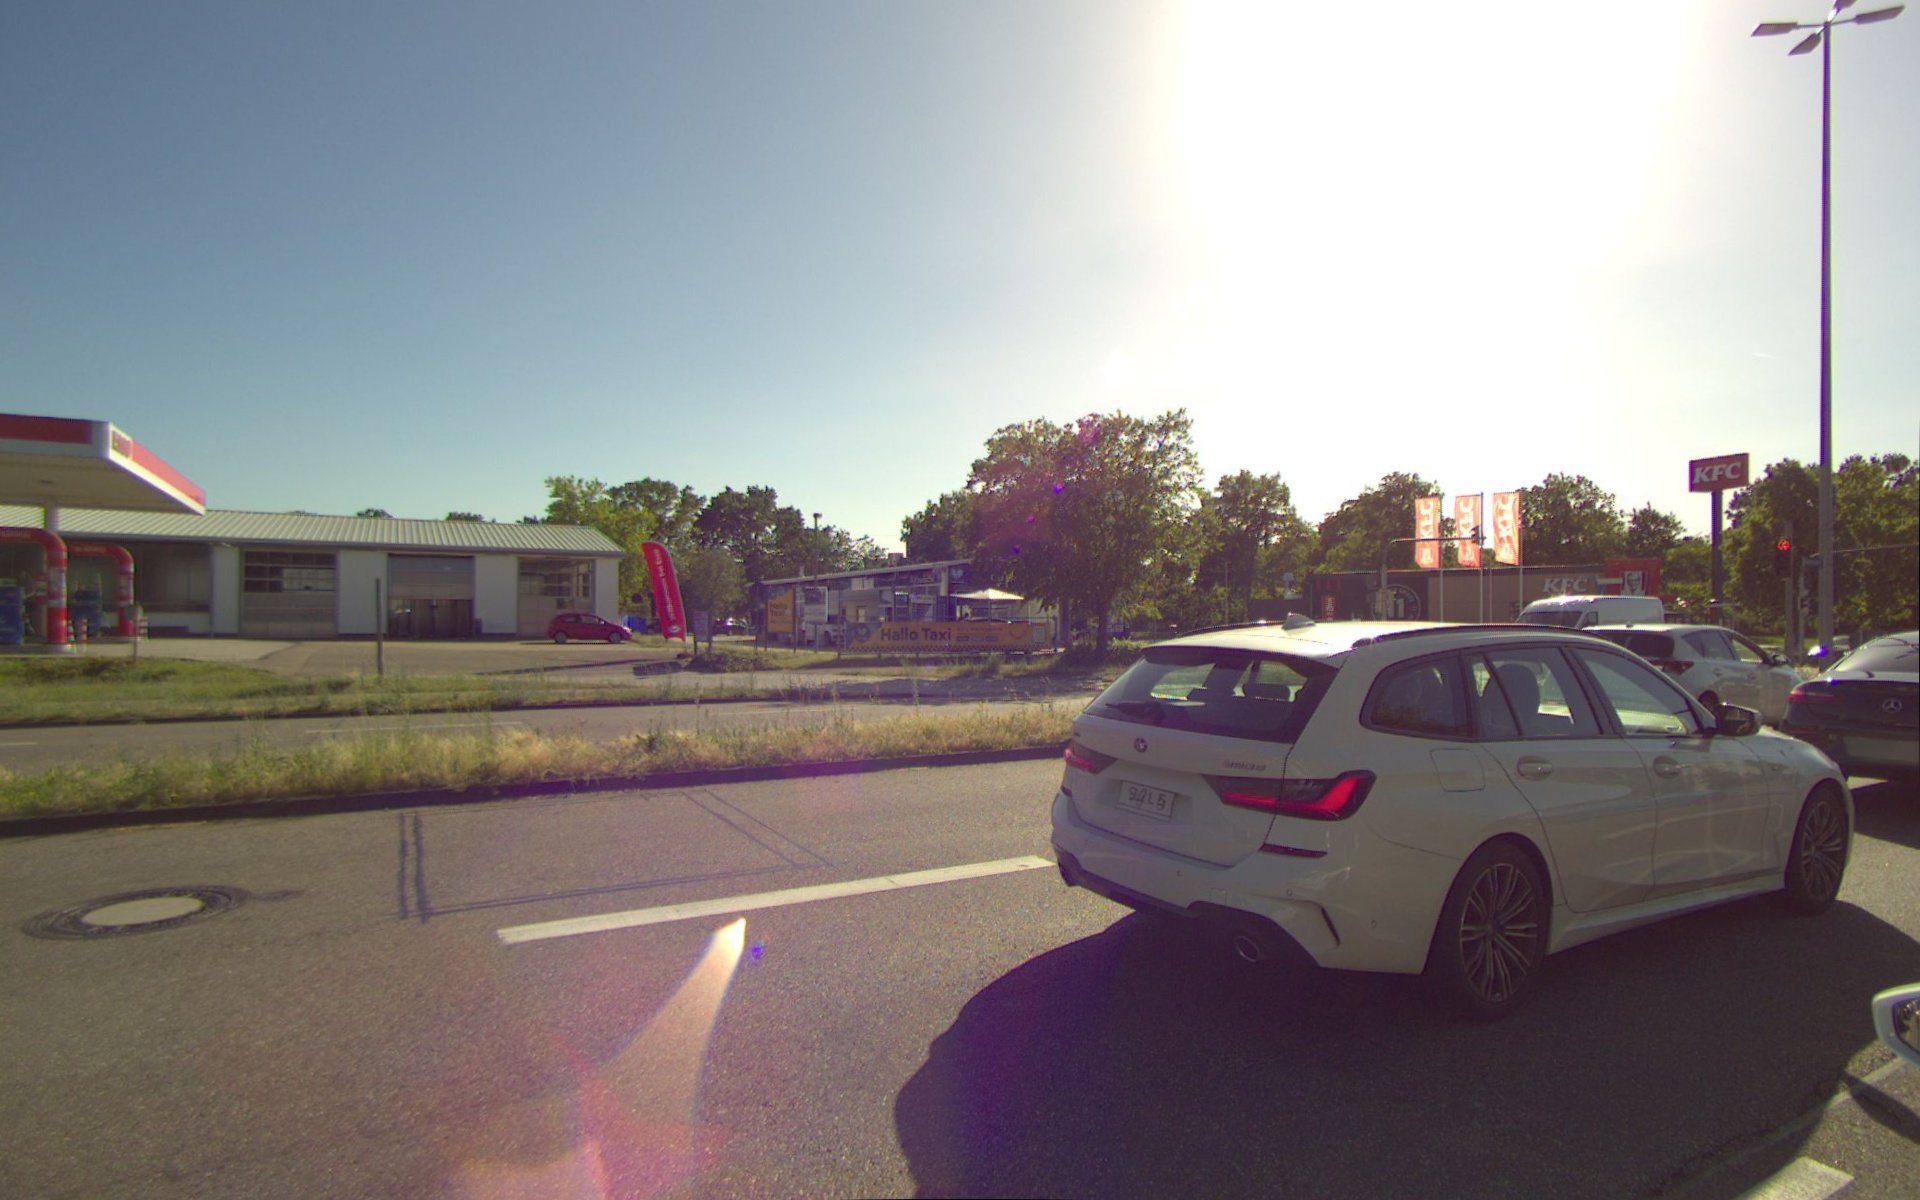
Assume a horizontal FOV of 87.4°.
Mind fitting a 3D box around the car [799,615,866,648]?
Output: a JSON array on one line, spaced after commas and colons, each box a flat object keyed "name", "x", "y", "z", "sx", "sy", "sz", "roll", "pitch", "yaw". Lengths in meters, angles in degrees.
[{"name": "car", "x": -6.796, "y": 1.636, "z": 53.170, "sx": 1.978, "sy": 1.584, "sz": 3.964, "roll": 2, "pitch": 0, "yaw": -32}]

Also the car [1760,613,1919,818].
[{"name": "car", "x": 9.032, "y": 0.938, "z": 8.767, "sx": 4.425, "sy": 1.510, "sz": 1.787, "roll": 2, "pitch": 0, "yaw": -31}]

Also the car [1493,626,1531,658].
[{"name": "car", "x": 33.092, "y": 2.467, "z": 60.204, "sx": 1.880, "sy": 1.776, "sz": 4.349, "roll": 2, "pitch": 0, "yaw": 29}]

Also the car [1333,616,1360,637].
[{"name": "car", "x": 28.292, "y": 1.923, "z": 73.658, "sx": 1.629, "sy": 1.491, "sz": 3.919, "roll": 2, "pitch": 0, "yaw": 18}]

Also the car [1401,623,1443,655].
[{"name": "car", "x": 28.346, "y": 2.335, "z": 61.522, "sx": 1.964, "sy": 1.788, "sz": 4.349, "roll": 2, "pitch": 0, "yaw": 29}]

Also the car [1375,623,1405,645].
[{"name": "car", "x": 31.305, "y": 2.436, "z": 73.222, "sx": 1.629, "sy": 1.491, "sz": 3.919, "roll": 2, "pitch": 0, "yaw": 18}]

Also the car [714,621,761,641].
[{"name": "car", "x": -19.394, "y": 2.705, "z": 87.602, "sx": 3.929, "sy": 1.634, "sz": 1.996, "roll": 2, "pitch": 0, "yaw": -11}]

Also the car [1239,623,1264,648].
[{"name": "car", "x": 21.814, "y": 2.612, "z": 75.156, "sx": 1.629, "sy": 1.695, "sz": 3.945, "roll": 2, "pitch": 0, "yaw": 18}]

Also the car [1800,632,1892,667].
[{"name": "car", "x": 40.245, "y": 2.271, "z": 45.613, "sx": 4.425, "sy": 1.509, "sz": 1.751, "roll": 2, "pitch": -4, "yaw": -30}]

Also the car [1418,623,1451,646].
[{"name": "car", "x": 33.937, "y": 2.446, "z": 71.949, "sx": 1.629, "sy": 1.491, "sz": 3.919, "roll": 2, "pitch": 0, "yaw": 18}]

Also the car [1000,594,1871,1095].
[{"name": "car", "x": 2.506, "y": 0.801, "z": 4.954, "sx": 4.353, "sy": 1.510, "sz": 1.776, "roll": 2, "pitch": 0, "yaw": -31}]

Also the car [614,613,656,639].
[{"name": "car", "x": -19.353, "y": 1.533, "z": 59.760, "sx": 1.634, "sy": 1.383, "sz": 3.744, "roll": 2, "pitch": 0, "yaw": -29}]

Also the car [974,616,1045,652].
[{"name": "car", "x": 2.398, "y": 1.659, "z": 49.561, "sx": 1.839, "sy": 1.613, "sz": 3.974, "roll": 2, "pitch": 0, "yaw": -26}]

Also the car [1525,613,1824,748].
[{"name": "car", "x": 9.575, "y": 0.999, "z": 13.390, "sx": 4.150, "sy": 1.510, "sz": 1.750, "roll": 2, "pitch": 0, "yaw": -31}]

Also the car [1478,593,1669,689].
[{"name": "car", "x": 17.249, "y": 1.196, "z": 28.171, "sx": 5.754, "sy": 2.478, "sz": 2.013, "roll": 2, "pitch": -4, "yaw": -30}]

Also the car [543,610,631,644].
[{"name": "car", "x": -18.345, "y": 1.325, "z": 49.411, "sx": 3.946, "sy": 1.537, "sz": 1.772, "roll": 2, "pitch": 0, "yaw": -25}]
